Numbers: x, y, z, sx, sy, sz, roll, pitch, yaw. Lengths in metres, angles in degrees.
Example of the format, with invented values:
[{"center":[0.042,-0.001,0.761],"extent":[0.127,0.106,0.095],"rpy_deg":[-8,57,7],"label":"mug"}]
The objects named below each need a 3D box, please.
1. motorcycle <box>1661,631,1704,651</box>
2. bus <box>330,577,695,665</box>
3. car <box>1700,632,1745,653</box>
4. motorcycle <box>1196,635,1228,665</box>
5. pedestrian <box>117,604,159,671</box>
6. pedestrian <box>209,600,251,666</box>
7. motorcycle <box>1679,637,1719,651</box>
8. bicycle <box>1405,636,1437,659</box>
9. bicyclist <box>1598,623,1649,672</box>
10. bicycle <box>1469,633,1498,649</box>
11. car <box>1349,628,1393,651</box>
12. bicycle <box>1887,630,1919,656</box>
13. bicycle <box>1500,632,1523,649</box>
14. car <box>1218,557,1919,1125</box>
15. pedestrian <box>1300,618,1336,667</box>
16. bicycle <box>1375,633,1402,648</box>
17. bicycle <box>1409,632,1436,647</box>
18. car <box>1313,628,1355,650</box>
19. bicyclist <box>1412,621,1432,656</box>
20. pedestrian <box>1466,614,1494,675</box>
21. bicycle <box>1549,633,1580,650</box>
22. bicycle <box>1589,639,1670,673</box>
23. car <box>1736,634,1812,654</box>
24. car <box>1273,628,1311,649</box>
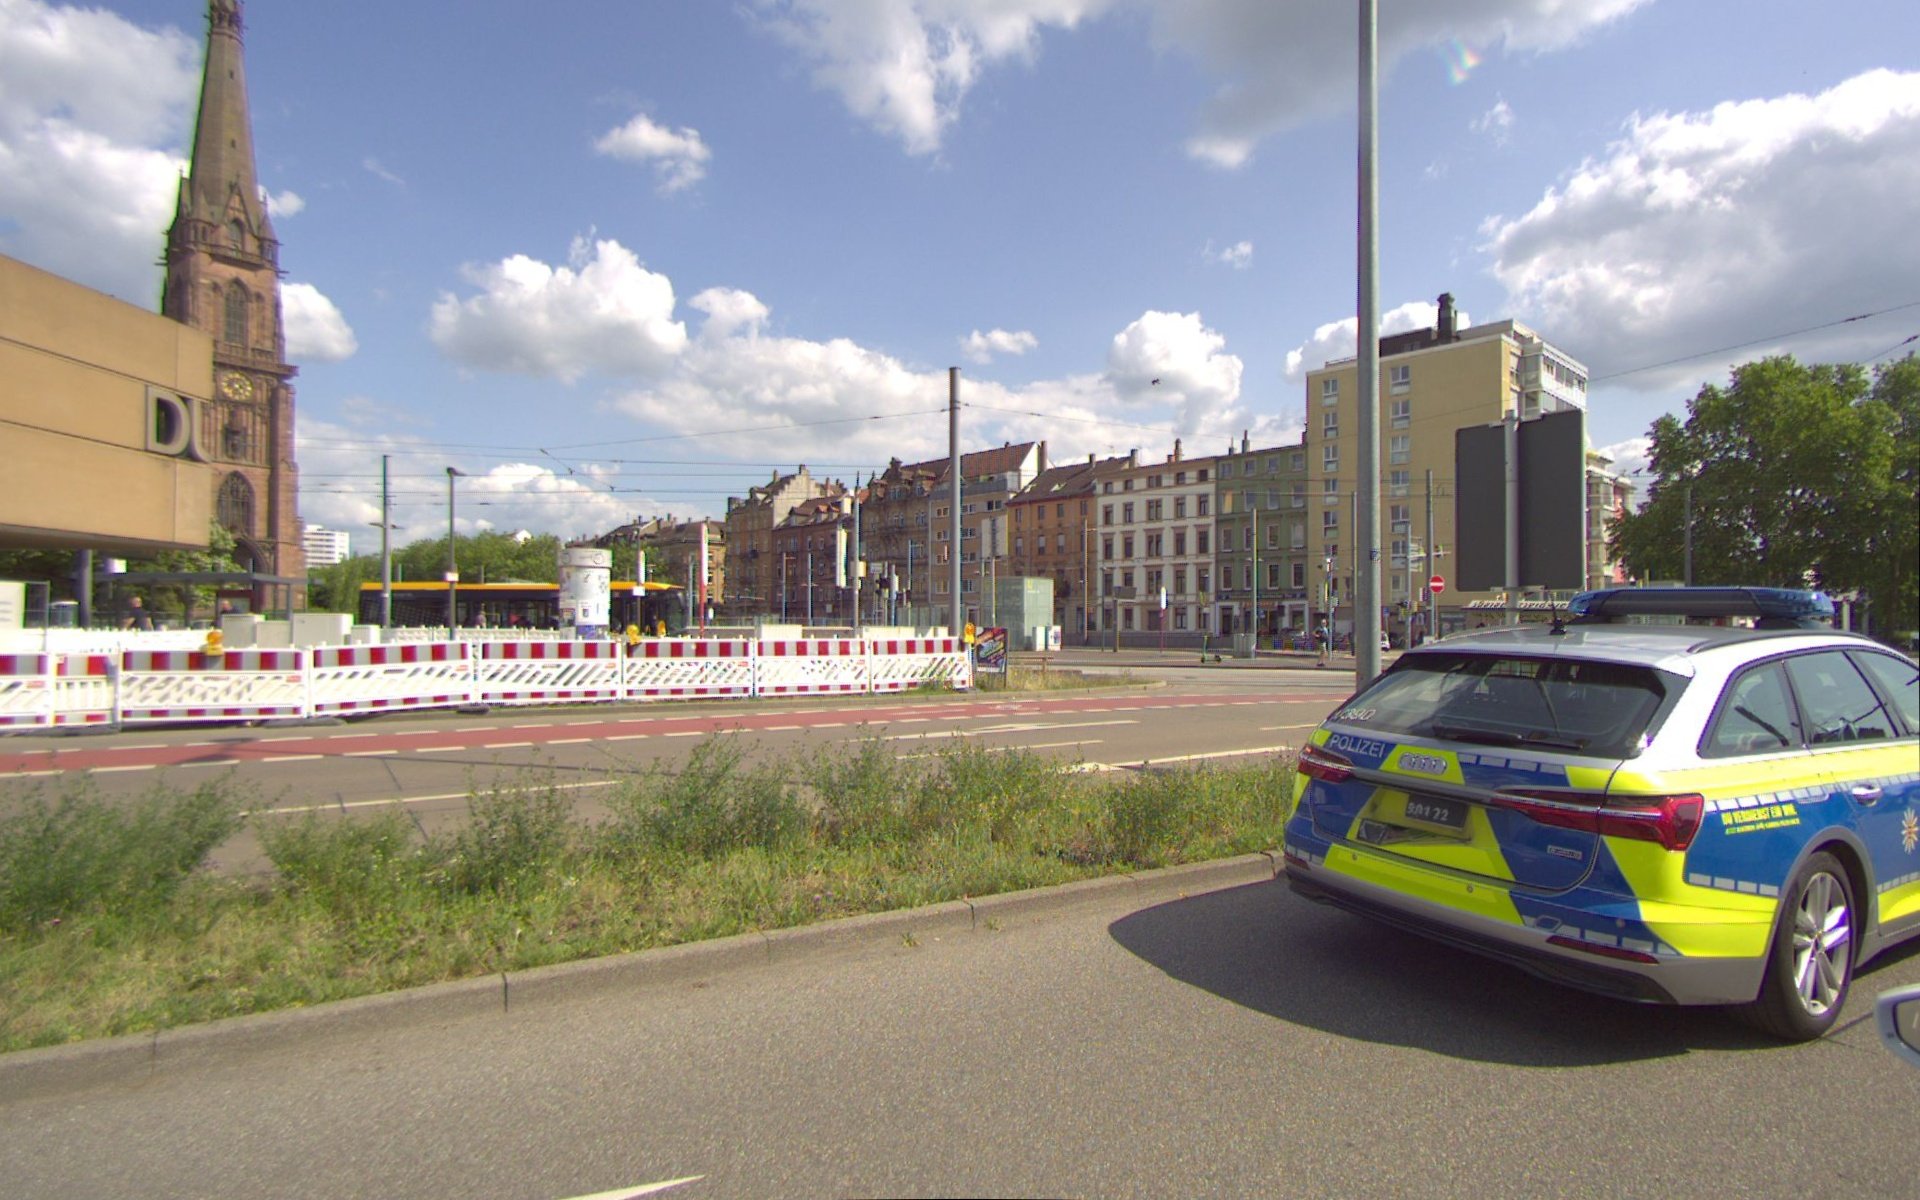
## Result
[{"center":[46.845,2.664,65.154],"extent":[0.890,1.254,2.214],"rpy_deg":[0,-1,-12],"label":"motorcycle"},{"center":[-16.788,0.808,38.259],"extent":[12.586,3.177,2.835],"rpy_deg":[0,-1,1],"label":"bus"},{"center":[55.418,3.113,73.012],"extent":[3.970,1.432,1.888],"rpy_deg":[4,-4,-42],"label":"car"},{"center":[10.616,2.105,42.330],"extent":[0.478,1.253,1.437],"rpy_deg":[2,-2,-27],"label":"motorcycle"},{"center":[-20.556,0.934,25.118],"extent":[0.760,1.653,0.645],"rpy_deg":[2,-1,-41],"label":"pedestrian"},{"center":[-18.564,0.841,25.549],"extent":[0.549,1.651,0.732],"rpy_deg":[1,-1,-7],"label":"pedestrian"},{"center":[50.424,2.976,68.564],"extent":[2.003,0.929,0.812],"rpy_deg":[-1,-1,7],"label":"motorcycle"},{"center":[24.439,2.521,53.211],"extent":[0.877,1.153,2.345],"rpy_deg":[2,0,41],"label":"bicycle"},{"center":[24.511,1.741,37.111],"extent":[0.984,1.753,1.290],"rpy_deg":[2,-2,-32],"label":"bicyclist"},{"center":[38.606,3.015,74.040],"extent":[1.783,1.118,0.792],"rpy_deg":[0,-1,42],"label":"bicycle"},{"center":[29.679,2.868,72.581],"extent":[1.861,1.516,3.903],"rpy_deg":[1,-2,5],"label":"car"},{"center":[54.444,2.445,57.370],"extent":[0.807,1.433,2.146],"rpy_deg":[0,0,-44],"label":"bicycle"},{"center":[40.708,2.980,74.101],"extent":[1.791,1.275,0.789],"rpy_deg":[1,-1,-34],"label":"bicycle"},{"center":[3.566,0.735,4.798],"extent":[4.561,1.589,1.871],"rpy_deg":[1,-2,-30],"label":"car"},{"center":[13.749,1.628,38.577],"extent":[1.015,1.821,0.762],"rpy_deg":[2,0,-27],"label":"pedestrian"},{"center":[33.772,3.203,79.231],"extent":[1.783,1.118,0.792],"rpy_deg":[0,-1,42],"label":"bicycle"},{"center":[35.634,3.033,77.367],"extent":[1.783,1.118,0.792],"rpy_deg":[0,-1,42],"label":"bicycle"},{"center":[27.325,2.853,73.552],"extent":[1.861,1.516,3.902],"rpy_deg":[1,-2,4],"label":"car"},{"center":[24.485,2.043,53.243],"extent":[0.768,1.821,0.706],"rpy_deg":[2,0,42],"label":"bicyclist"},{"center":[16.906,1.420,32.637],"extent":[0.753,1.928,0.825],"rpy_deg":[2,0,29],"label":"pedestrian"},{"center":[43.547,2.977,72.404],"extent":[1.784,1.162,0.792],"rpy_deg":[0,-1,43],"label":"bicycle"},{"center":[24.594,2.033,36.925],"extent":[0.984,1.204,2.281],"rpy_deg":[2,-3,-32],"label":"bicycle"},{"center":[59.026,3.178,72.893],"extent":[1.615,1.344,3.967],"rpy_deg":[3,-3,-31],"label":"car"},{"center":[25.141,2.917,76.210],"extent":[1.861,1.516,3.902],"rpy_deg":[1,-2,4],"label":"car"}]
